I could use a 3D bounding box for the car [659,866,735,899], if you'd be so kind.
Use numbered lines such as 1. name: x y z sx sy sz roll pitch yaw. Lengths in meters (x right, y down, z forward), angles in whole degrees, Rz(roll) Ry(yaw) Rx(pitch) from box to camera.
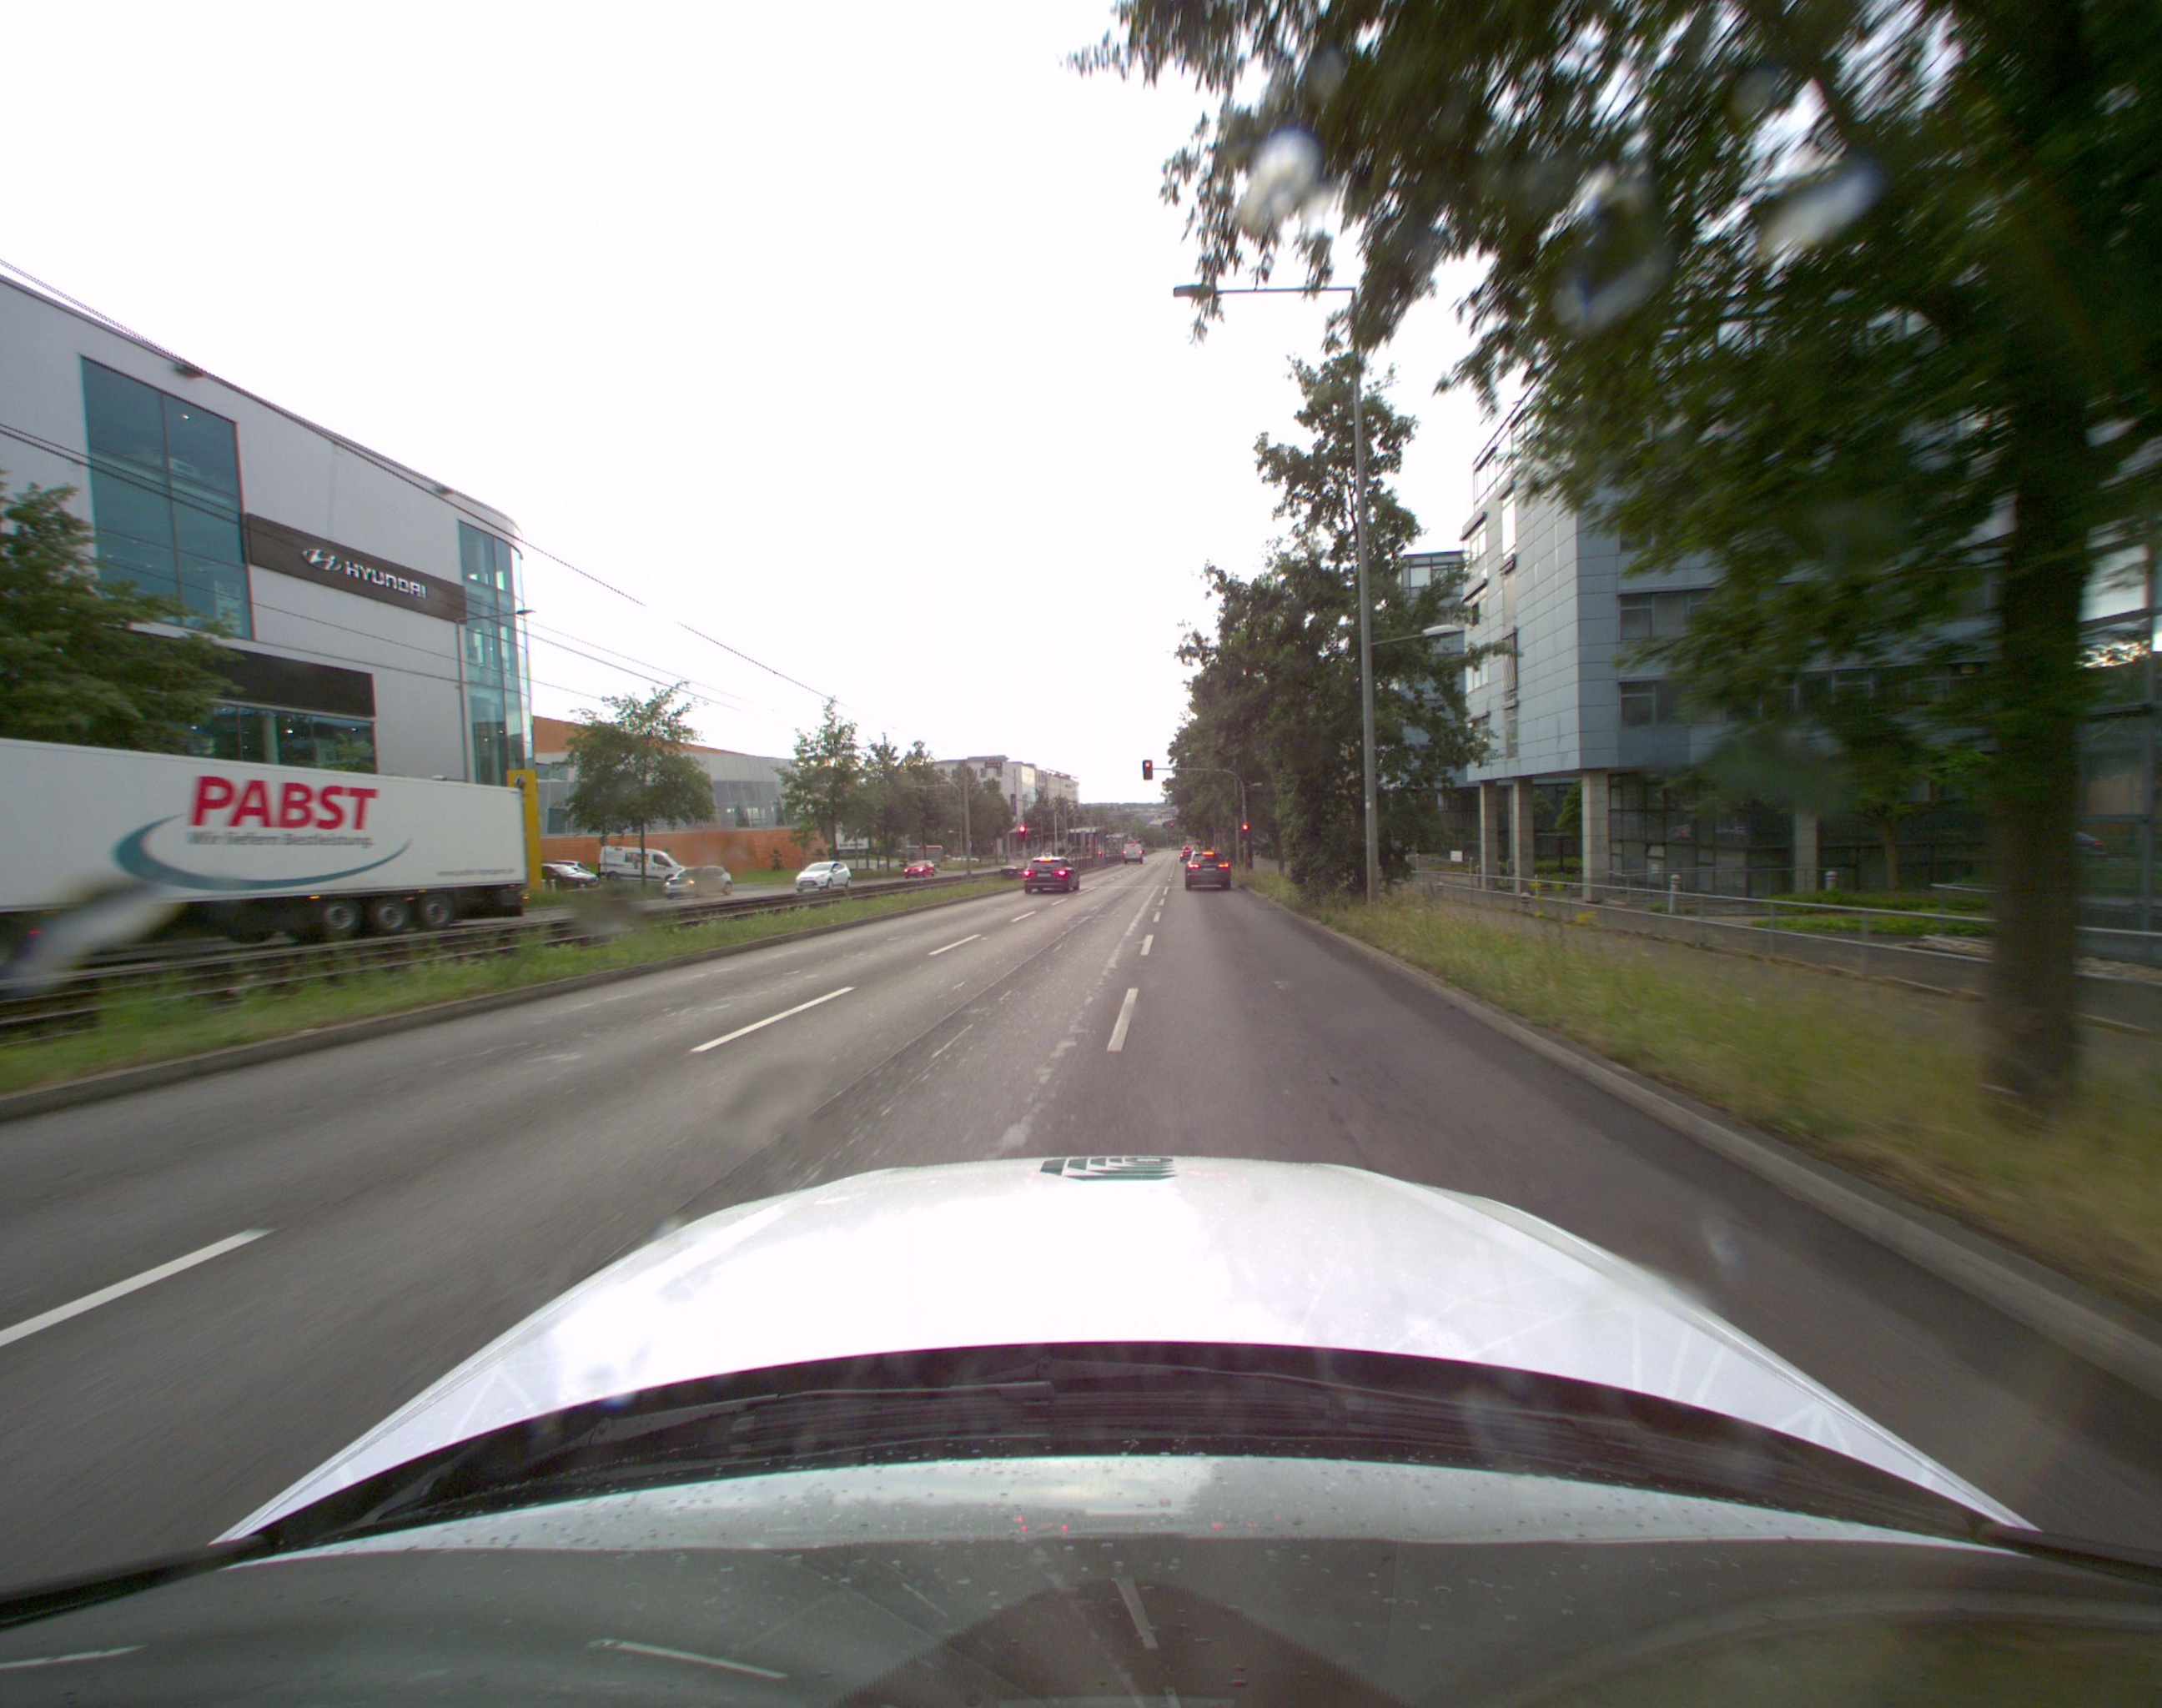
1. car: -19.545 1.420 41.662 1.653 1.544 3.905 -1 0 7

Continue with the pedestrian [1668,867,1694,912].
1. pedestrian: 19.177 1.124 26.032 0.500 1.408 0.458 -1 0 7

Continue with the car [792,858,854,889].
1. car: -13.131 0.962 41.686 1.655 1.442 3.901 -1 0 4

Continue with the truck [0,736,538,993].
1. truck: -18.853 0.122 16.417 3.028 4.180 17.225 -1 1 4

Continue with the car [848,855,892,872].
1. car: -23.792 1.011 92.044 4.304 1.809 2.101 -1 1 3

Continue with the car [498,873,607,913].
1. car: -29.119 2.132 44.940 4.588 1.976 2.019 -2 0 -1

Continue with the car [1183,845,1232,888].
1. car: 5.354 0.529 34.797 1.912 1.710 4.106 0 0 7

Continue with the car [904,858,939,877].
1. car: -13.149 1.110 67.200 1.653 1.442 3.905 -1 0 7

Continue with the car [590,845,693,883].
1. car: -29.491 0.641 54.816 5.645 2.432 2.257 -1 0 -13

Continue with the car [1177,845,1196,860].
1. car: 13.412 -0.179 103.375 2.036 1.742 4.588 0 1 10

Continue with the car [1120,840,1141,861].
1. car: 5.709 -0.405 94.236 2.259 2.284 4.762 -1 1 1

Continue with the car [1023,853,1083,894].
1. car: -1.070 0.739 33.357 1.777 1.413 4.814 -1 1 6

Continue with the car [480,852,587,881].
1. car: -35.687 0.800 53.271 5.328 1.785 2.258 -1 0 -13
